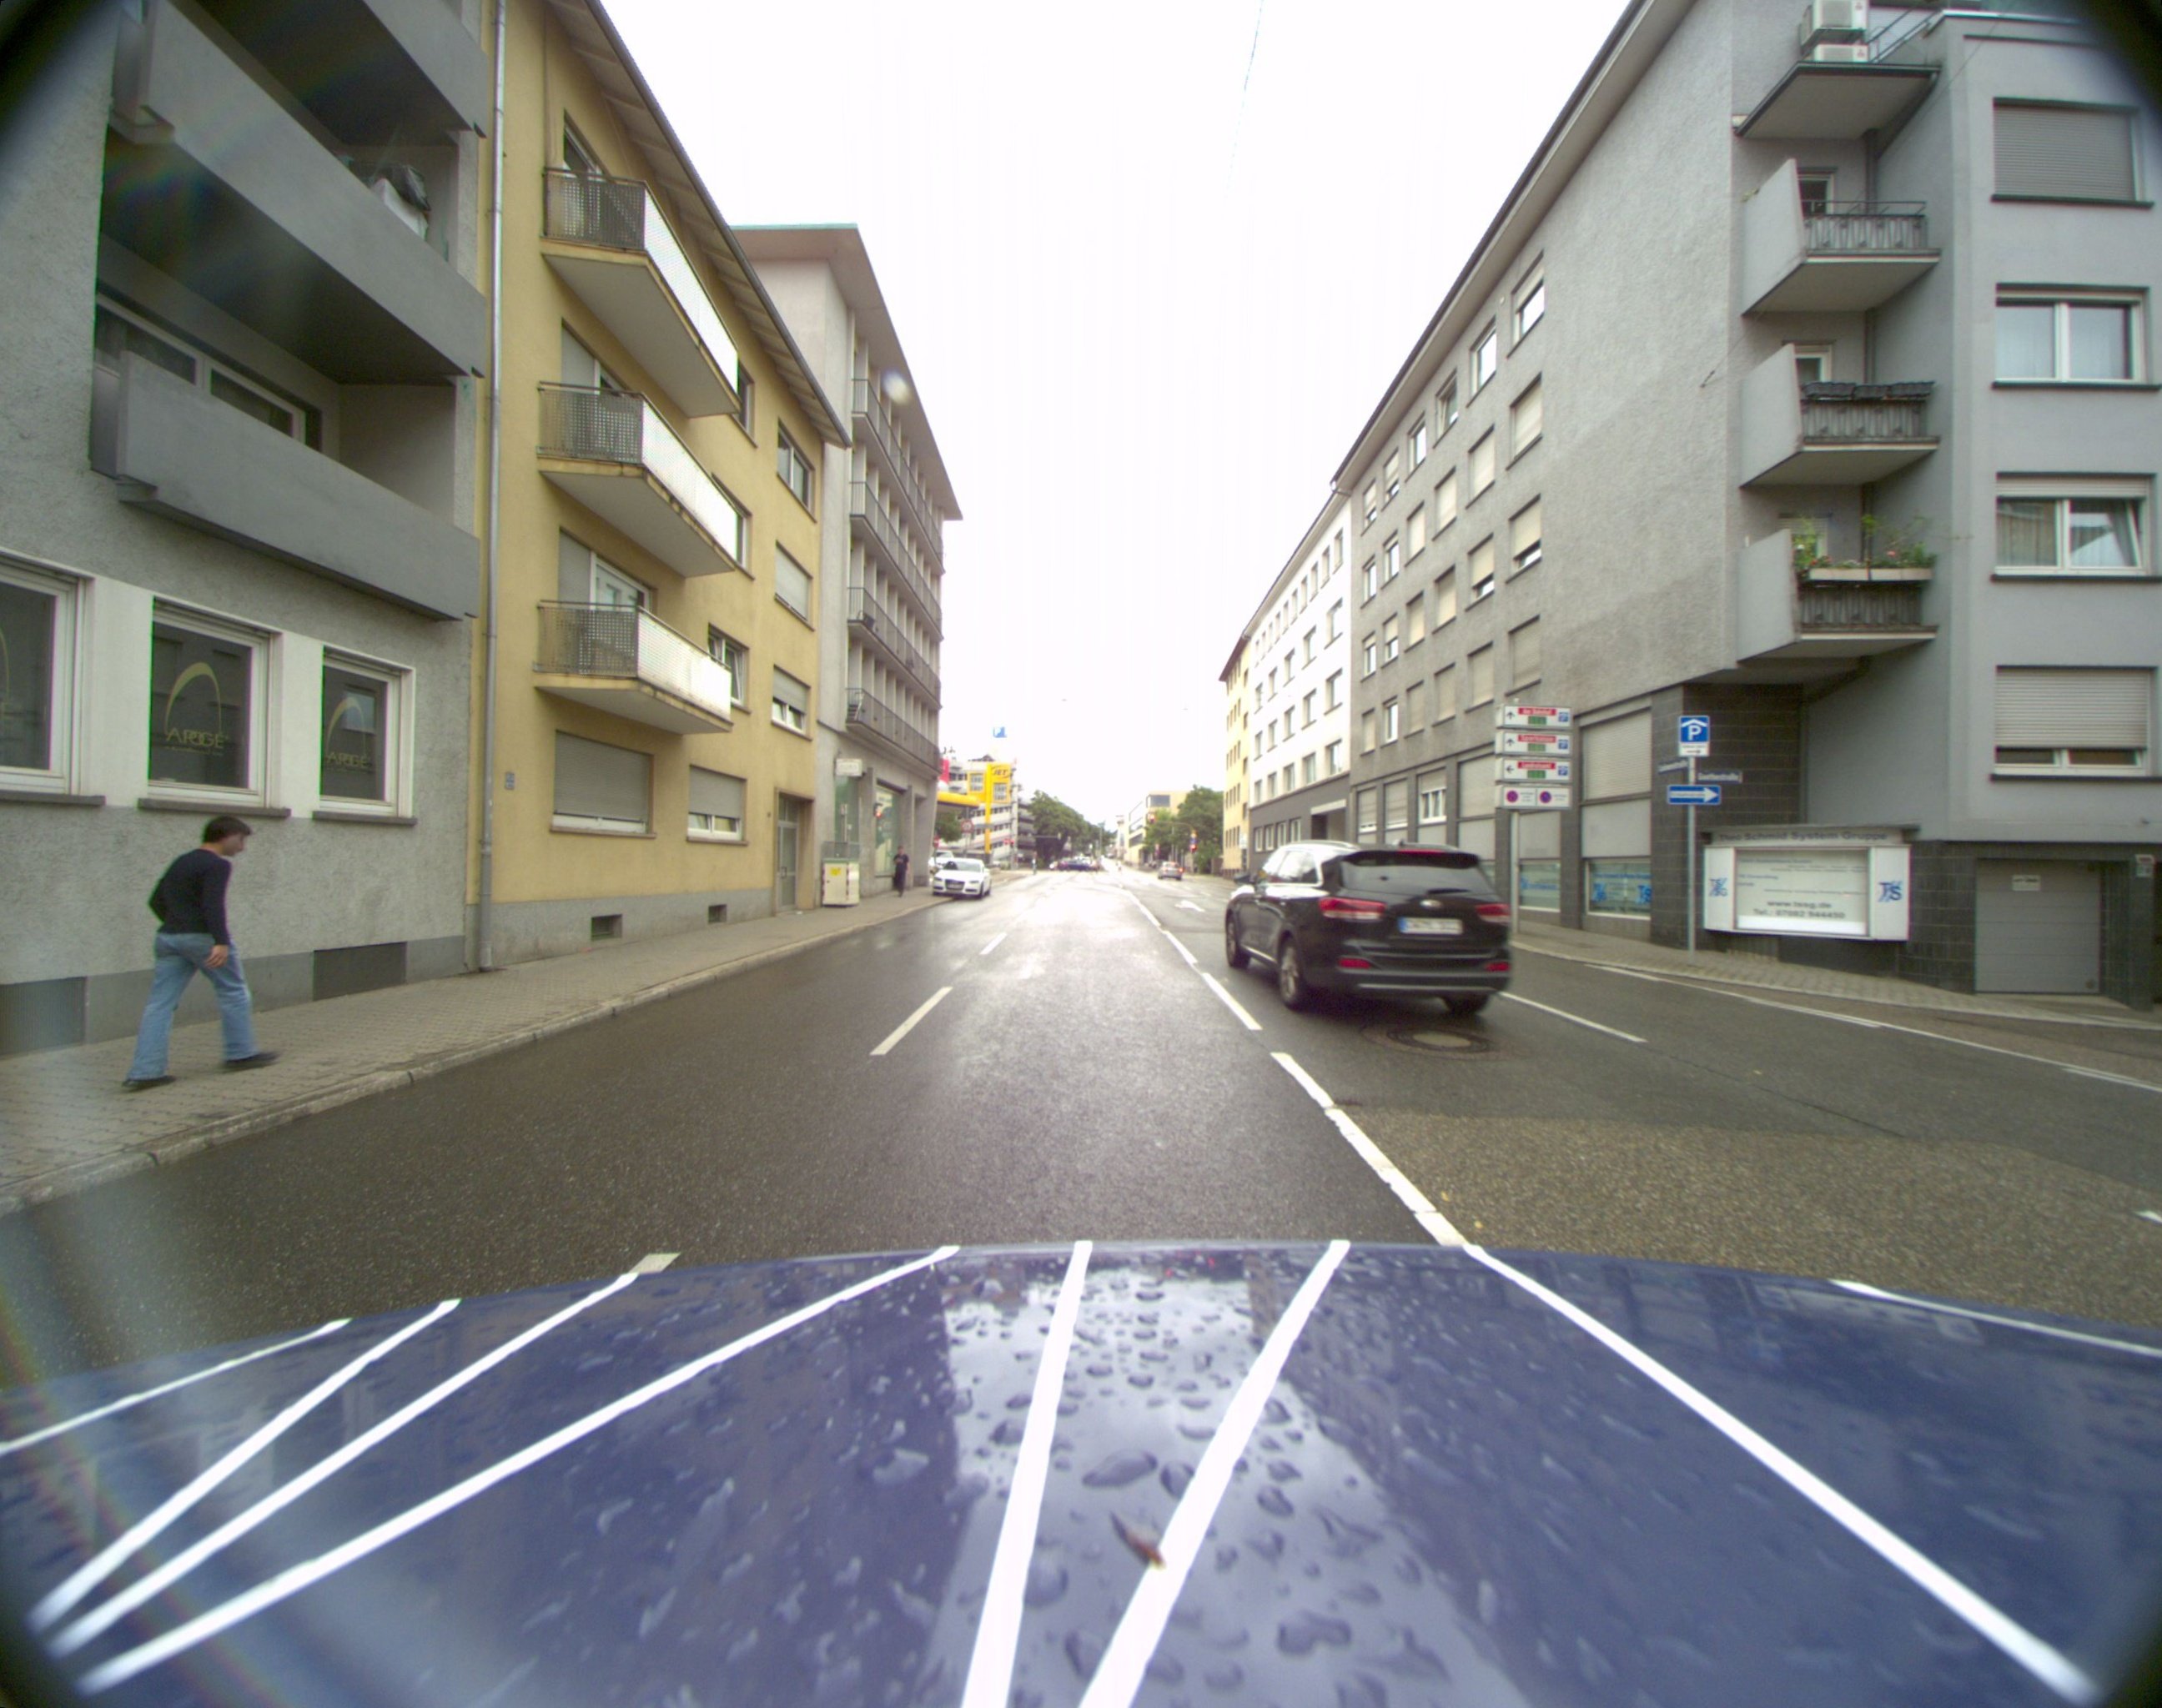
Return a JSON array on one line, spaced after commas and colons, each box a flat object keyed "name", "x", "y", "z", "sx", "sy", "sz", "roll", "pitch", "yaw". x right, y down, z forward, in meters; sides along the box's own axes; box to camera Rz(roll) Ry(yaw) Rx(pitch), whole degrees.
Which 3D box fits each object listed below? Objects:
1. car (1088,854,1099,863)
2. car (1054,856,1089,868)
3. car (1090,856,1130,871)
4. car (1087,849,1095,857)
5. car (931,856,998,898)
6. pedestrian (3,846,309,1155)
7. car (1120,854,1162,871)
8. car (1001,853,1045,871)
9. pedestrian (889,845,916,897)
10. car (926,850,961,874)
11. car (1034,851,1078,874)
[{"name": "car", "x": 2.553, "y": 0.941, "z": 152.994, "sx": 1.999, "sy": 1.736, "sz": 3.999, "roll": -2, "pitch": 1, "yaw": 0}, {"name": "car", "x": -1.151, "y": 0.974, "z": 94.276, "sx": 4.006, "sy": 1.499, "sz": 1.734, "roll": 1, "pitch": 1, "yaw": -26}, {"name": "car", "x": 2.985, "y": 0.962, "z": 77.523, "sx": 3.996, "sy": 1.499, "sz": 1.738, "roll": 1, "pitch": 1, "yaw": 2}, {"name": "car", "x": 2.461, "y": -0.249, "z": 191.838, "sx": 1.998, "sy": 2.002, "sz": 3.999, "roll": -2, "pitch": 1, "yaw": 1}, {"name": "car", "x": -4.365, "y": 0.819, "z": 29.057, "sx": 1.803, "sy": 1.427, "sz": 4.166, "roll": 1, "pitch": 0, "yaw": 1}, {"name": "pedestrian", "x": -5.908, "y": 0.850, "z": 4.937, "sx": 0.644, "sy": 1.768, "sz": 1.056, "roll": 3, "pitch": 1, "yaw": 0}, {"name": "car", "x": 5.824, "y": 0.817, "z": 73.944, "sx": 3.996, "sy": 1.499, "sz": 1.738, "roll": 1, "pitch": 1, "yaw": 2}, {"name": "car", "x": -5.825, "y": 0.779, "z": 76.407, "sx": 3.994, "sy": 1.751, "sz": 2.001, "roll": 1, "pitch": 1, "yaw": 9}, {"name": "pedestrian", "x": -6.135, "y": 0.574, "z": 26.159, "sx": 0.679, "sy": 1.745, "sz": 0.888, "roll": 1, "pitch": 1, "yaw": 1}, {"name": "car", "x": -8.966, "y": 0.483, "z": 49.734, "sx": 1.771, "sy": 1.465, "sz": 3.998, "roll": -2, "pitch": 0, "yaw": -4}, {"name": "car", "x": -2.262, "y": 0.748, "z": 69.175, "sx": 3.794, "sy": 1.823, "sz": 1.692, "roll": -3, "pitch": 1, "yaw": 2}]
